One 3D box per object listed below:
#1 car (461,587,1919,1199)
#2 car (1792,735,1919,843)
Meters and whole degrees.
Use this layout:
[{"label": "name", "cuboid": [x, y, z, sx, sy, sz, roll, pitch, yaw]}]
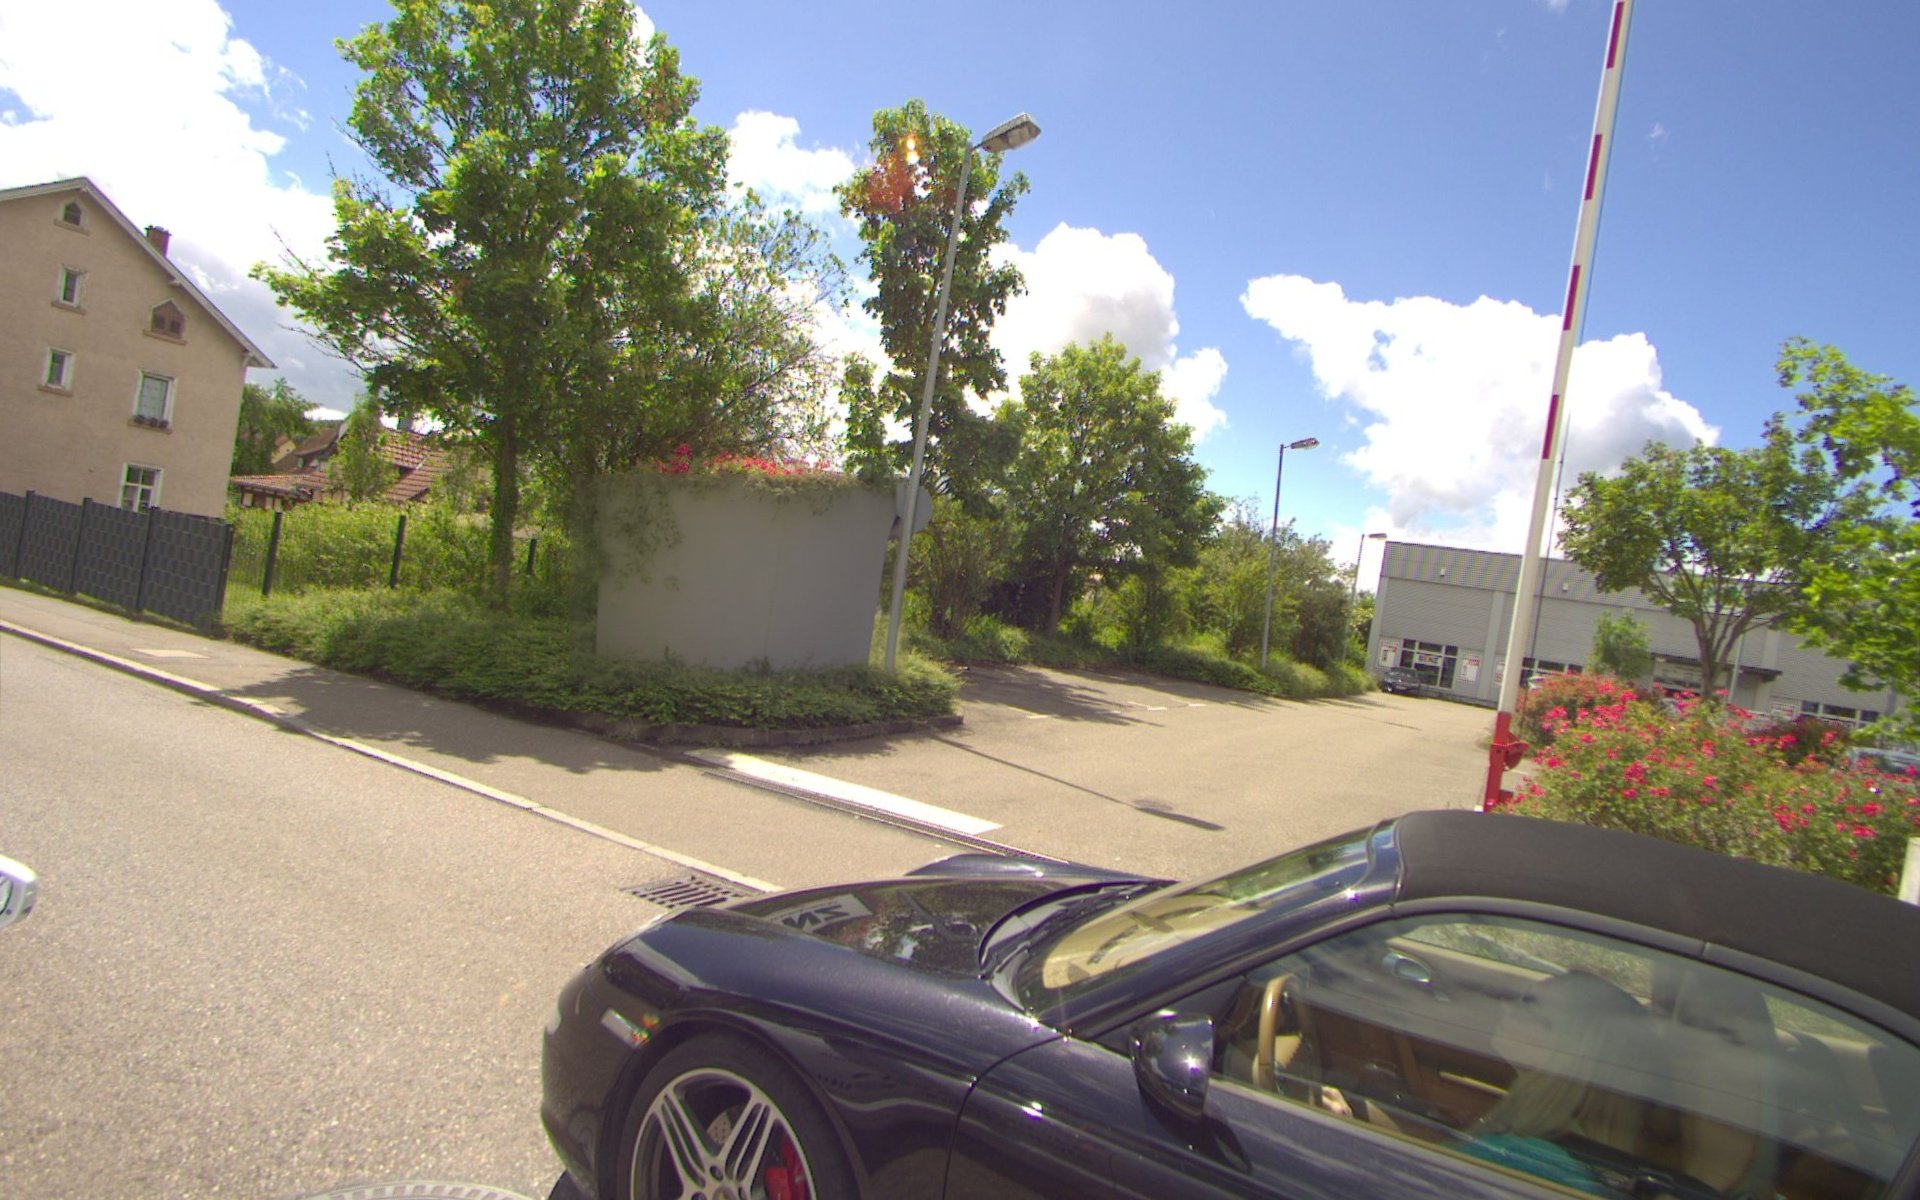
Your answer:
[{"label": "car", "cuboid": [0.902, 1.078, 2.156, 4.146, 1.393, 1.930, 11, 1, 40]}, {"label": "car", "cuboid": [15.962, 3.236, 17.134, 1.856, 1.386, 3.879, 9, 0, 29]}]
